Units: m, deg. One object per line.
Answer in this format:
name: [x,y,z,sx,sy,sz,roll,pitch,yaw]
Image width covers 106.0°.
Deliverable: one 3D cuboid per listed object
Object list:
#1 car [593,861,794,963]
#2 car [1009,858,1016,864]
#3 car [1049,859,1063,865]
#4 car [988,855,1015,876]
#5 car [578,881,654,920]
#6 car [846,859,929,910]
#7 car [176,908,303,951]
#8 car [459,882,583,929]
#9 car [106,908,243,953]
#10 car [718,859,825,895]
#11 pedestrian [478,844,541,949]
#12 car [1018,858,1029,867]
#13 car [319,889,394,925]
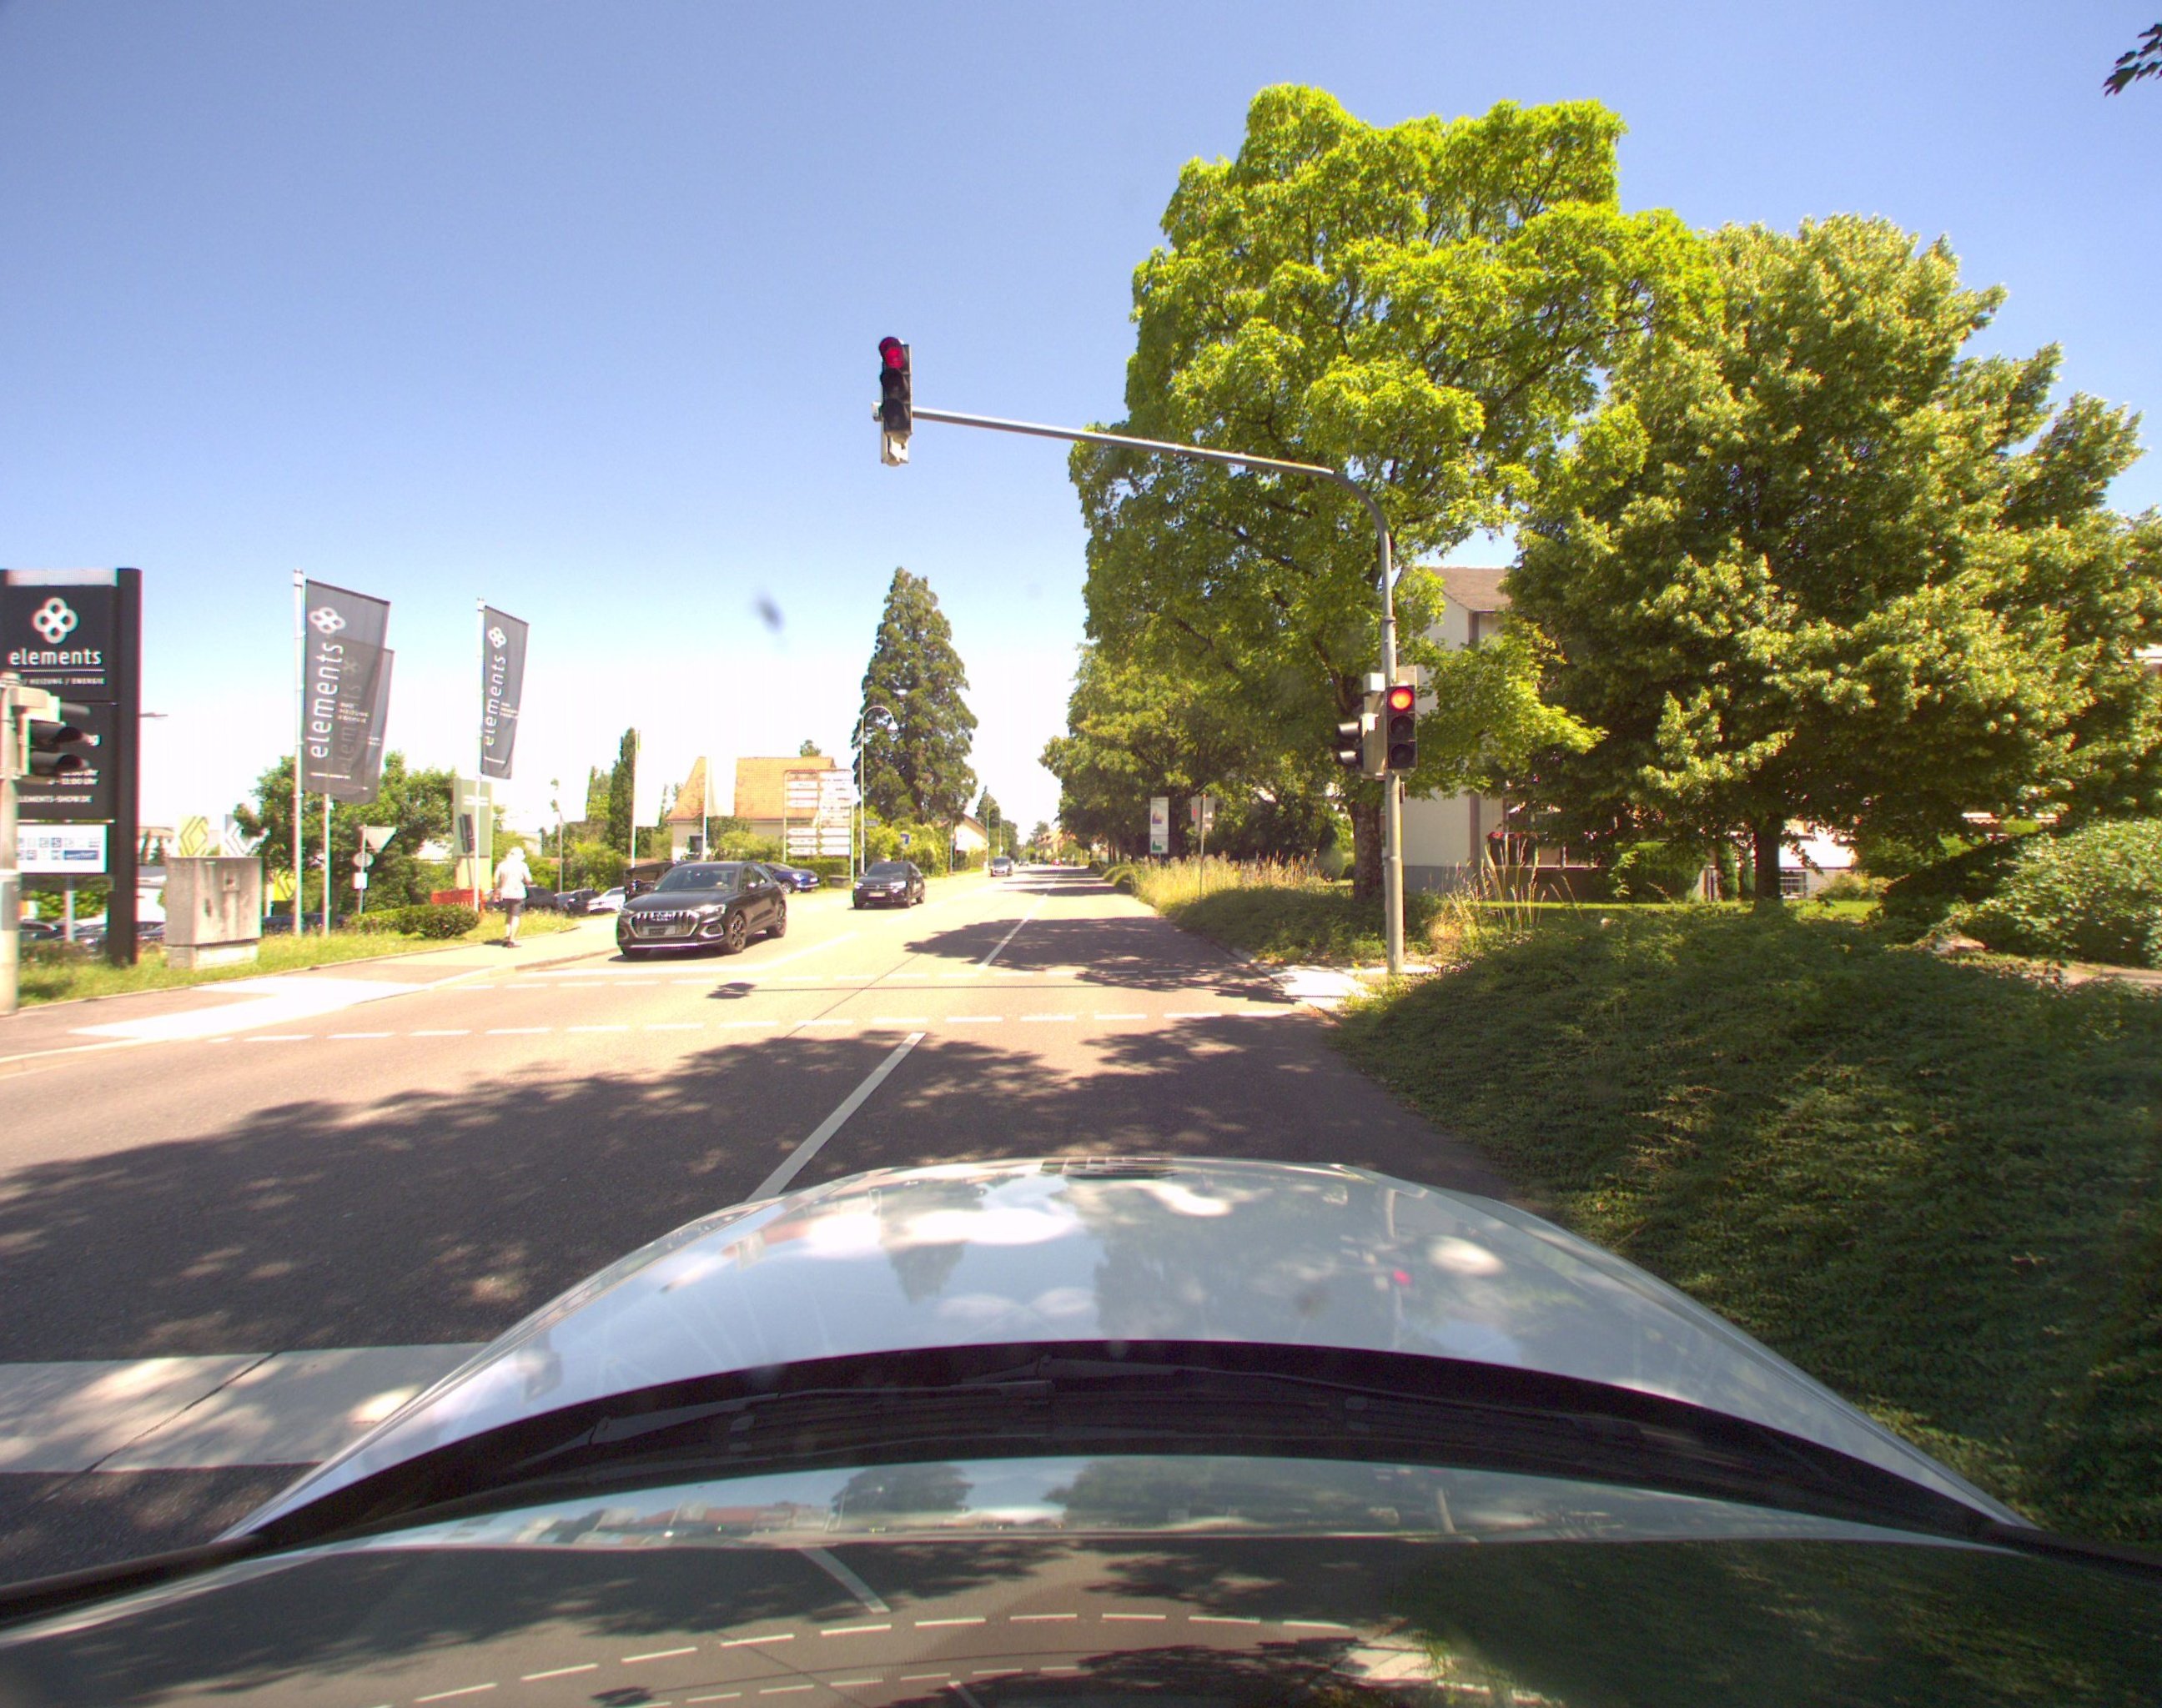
car: [-6.891,0.939,15.060,1.923,1.555,4.295,-1,0,-5]
car: [-21.887,2.254,260.395,1.675,1.684,4.000,-1,0,1]
car: [-5.648,1.841,181.882,1.948,1.359,4.438,-1,0,-16]
car: [-7.147,1.010,73.500,1.804,1.762,4.571,0,0,1]
car: [-23.395,2.293,41.159,1.806,1.722,4.081,0,0,-6]
car: [-6.307,0.941,26.961,1.864,1.507,4.049,-1,0,-2]
car: [-34.575,3.061,33.616,1.648,1.415,3.854,-1,0,-10]
car: [-23.490,2.099,34.356,1.795,1.721,4.106,0,0,16]
car: [-37.274,3.096,33.655,1.754,1.486,3.983,-1,0,-12]
car: [-13.916,1.029,36.691,4.109,1.504,1.782,-1,0,10]
pedestrian: [-9.853,0.718,14.058,0.538,1.761,0.706,-1,-1,28]
car: [-10.937,1.630,155.091,1.788,1.536,4.313,-1,0,-1]
car: [-40.065,2.906,45.158,1.816,1.722,4.059,0,0,-22]
